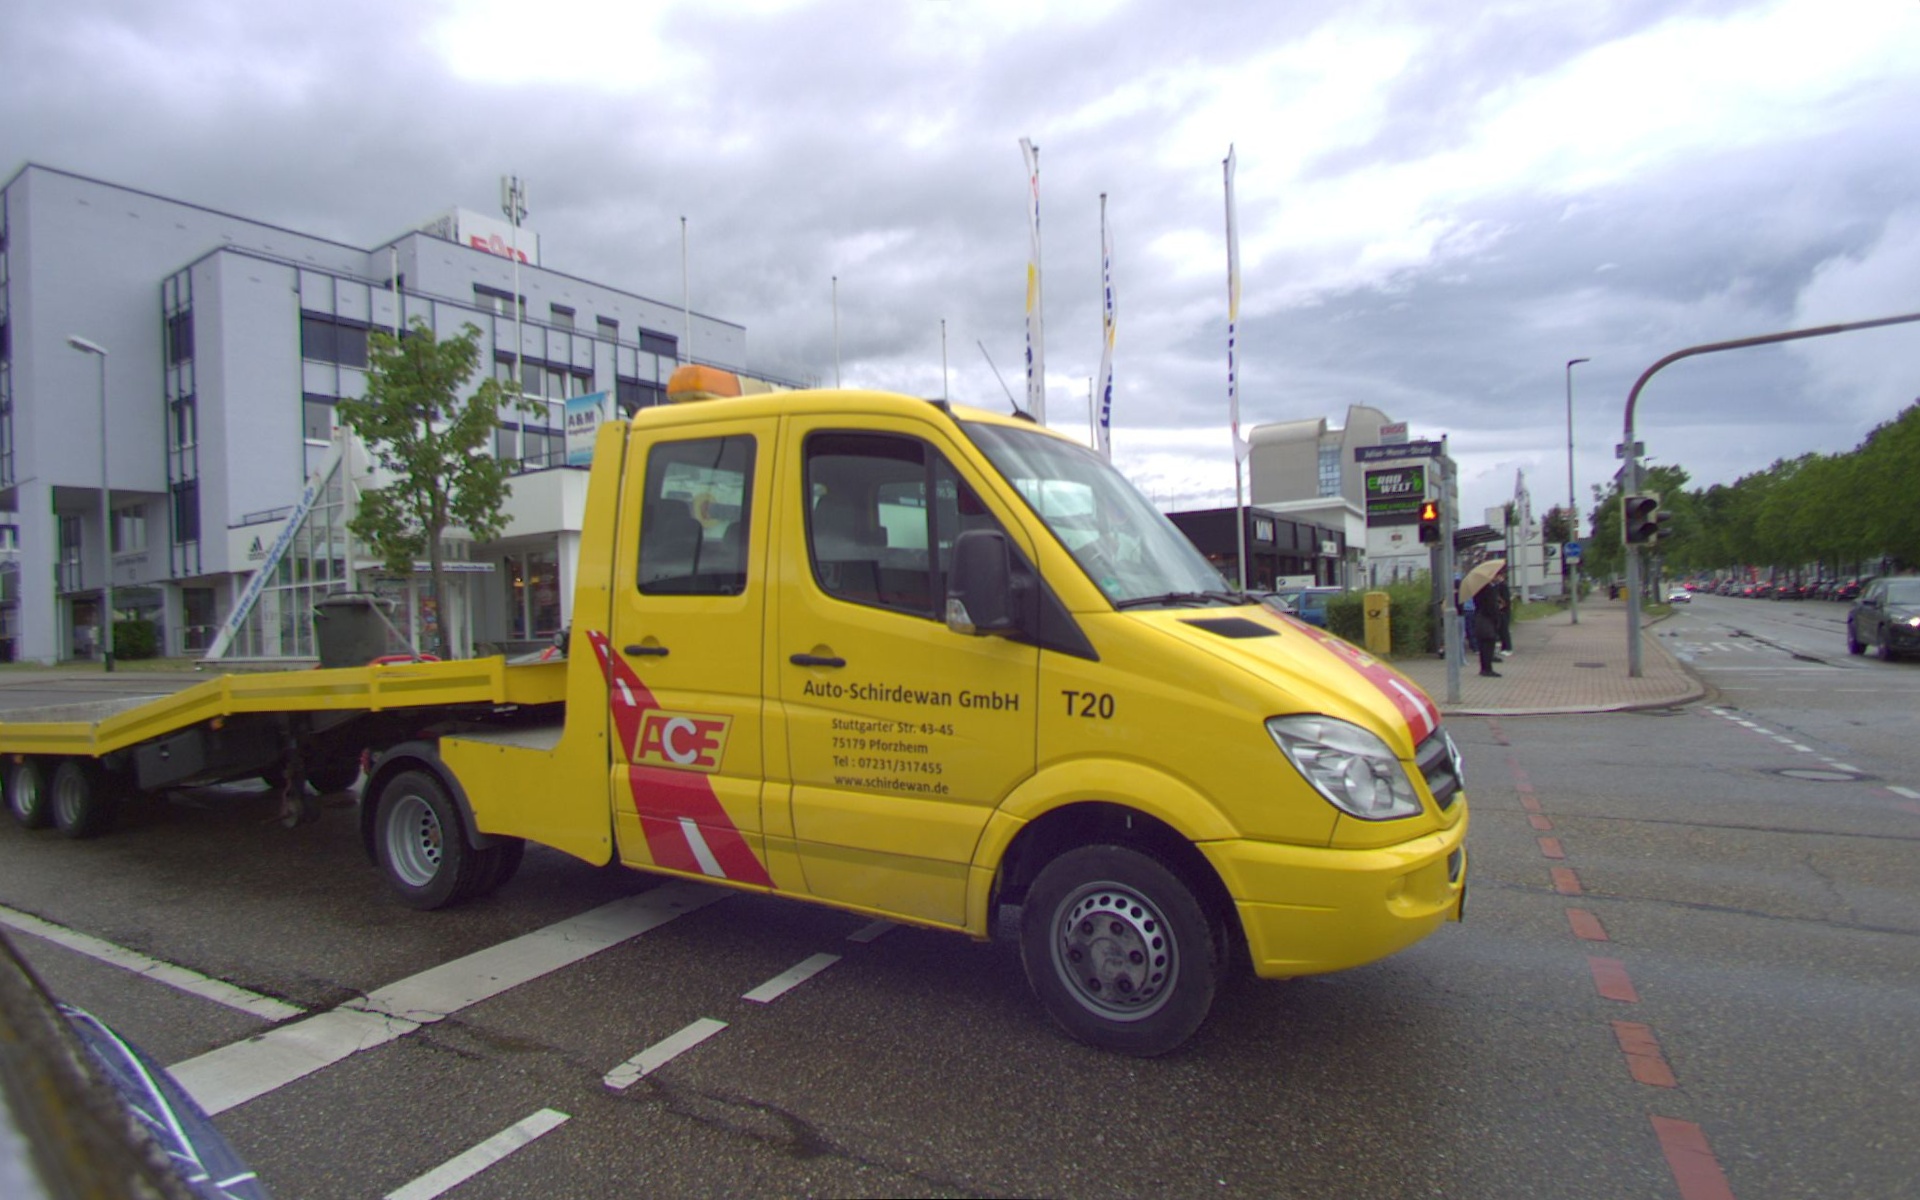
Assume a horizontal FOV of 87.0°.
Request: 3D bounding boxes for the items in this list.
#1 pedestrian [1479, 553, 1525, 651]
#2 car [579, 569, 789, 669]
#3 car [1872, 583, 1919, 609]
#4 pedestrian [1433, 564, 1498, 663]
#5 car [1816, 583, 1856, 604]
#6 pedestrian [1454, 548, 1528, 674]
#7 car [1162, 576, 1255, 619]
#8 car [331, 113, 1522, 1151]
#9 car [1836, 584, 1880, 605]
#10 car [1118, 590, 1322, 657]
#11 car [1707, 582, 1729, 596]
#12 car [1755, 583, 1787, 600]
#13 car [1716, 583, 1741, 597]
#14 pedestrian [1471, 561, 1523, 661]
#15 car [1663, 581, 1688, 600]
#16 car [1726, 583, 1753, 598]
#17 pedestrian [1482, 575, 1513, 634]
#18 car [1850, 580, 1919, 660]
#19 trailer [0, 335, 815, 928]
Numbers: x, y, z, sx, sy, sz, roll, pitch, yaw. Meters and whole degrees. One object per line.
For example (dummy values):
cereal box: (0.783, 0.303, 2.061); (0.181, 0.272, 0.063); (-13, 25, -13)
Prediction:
pedestrian: (11.491, 0.052, 21.458); (0.740, 2.029, 0.689); (-1, -1, 36)
car: (-6.261, 0.435, 22.723); (4.777, 2.029, 1.976); (-1, -1, 36)
car: (61.873, -0.253, 66.706); (1.837, 1.601, 3.957); (-1, -1, 32)
pedestrian: (9.322, 0.241, 18.677); (0.803, 1.788, 0.699); (-1, 1, -9)
car: (72.732, -0.522, 84.103); (1.837, 1.601, 3.957); (-1, -1, 32)
pedestrian: (8.784, 0.177, 16.749); (0.803, 2.029, 0.698); (-1, 0, -9)
car: (12.262, -0.088, 50.036); (3.994, 2.029, 1.887); (-1, -1, 38)
car: (-0.331, 0.137, 4.642); (4.994, 2.493, 2.224); (-2, -1, 29)
car: (69.806, -0.429, 78.741); (1.837, 1.601, 3.957); (-1, -1, 32)
car: (5.877, 0.530, 23.108); (4.121, 1.404, 1.800); (-1, 0, 38)
car: (94.153, -1.328, 125.768); (1.837, 1.601, 3.957); (-1, -1, 32)
car: (76.414, -0.779, 95.384); (1.837, 1.601, 3.957); (-1, -1, 32)
car: (89.006, -1.170, 117.282); (1.837, 1.601, 3.957); (-1, -1, 32)
pedestrian: (10.341, 0.190, 19.486); (0.814, 1.870, 0.689); (0, 2, 35)
car: (67.263, -0.864, 95.180); (1.615, 1.741, 3.640); (-1, -1, 30)
car: (84.967, -1.036, 110.384); (1.837, 1.601, 3.957); (-1, -1, 32)
pedestrian: (15.882, 0.138, 29.904); (0.700, 1.724, 0.689); (-1, -1, 35)
car: (19.360, 0.345, 19.983); (1.747, 1.475, 3.962); (-1, 0, 28)
trailer: (-4.917, 0.237, 7.220); (7.937, 2.493, 2.288); (-2, -1, 30)
